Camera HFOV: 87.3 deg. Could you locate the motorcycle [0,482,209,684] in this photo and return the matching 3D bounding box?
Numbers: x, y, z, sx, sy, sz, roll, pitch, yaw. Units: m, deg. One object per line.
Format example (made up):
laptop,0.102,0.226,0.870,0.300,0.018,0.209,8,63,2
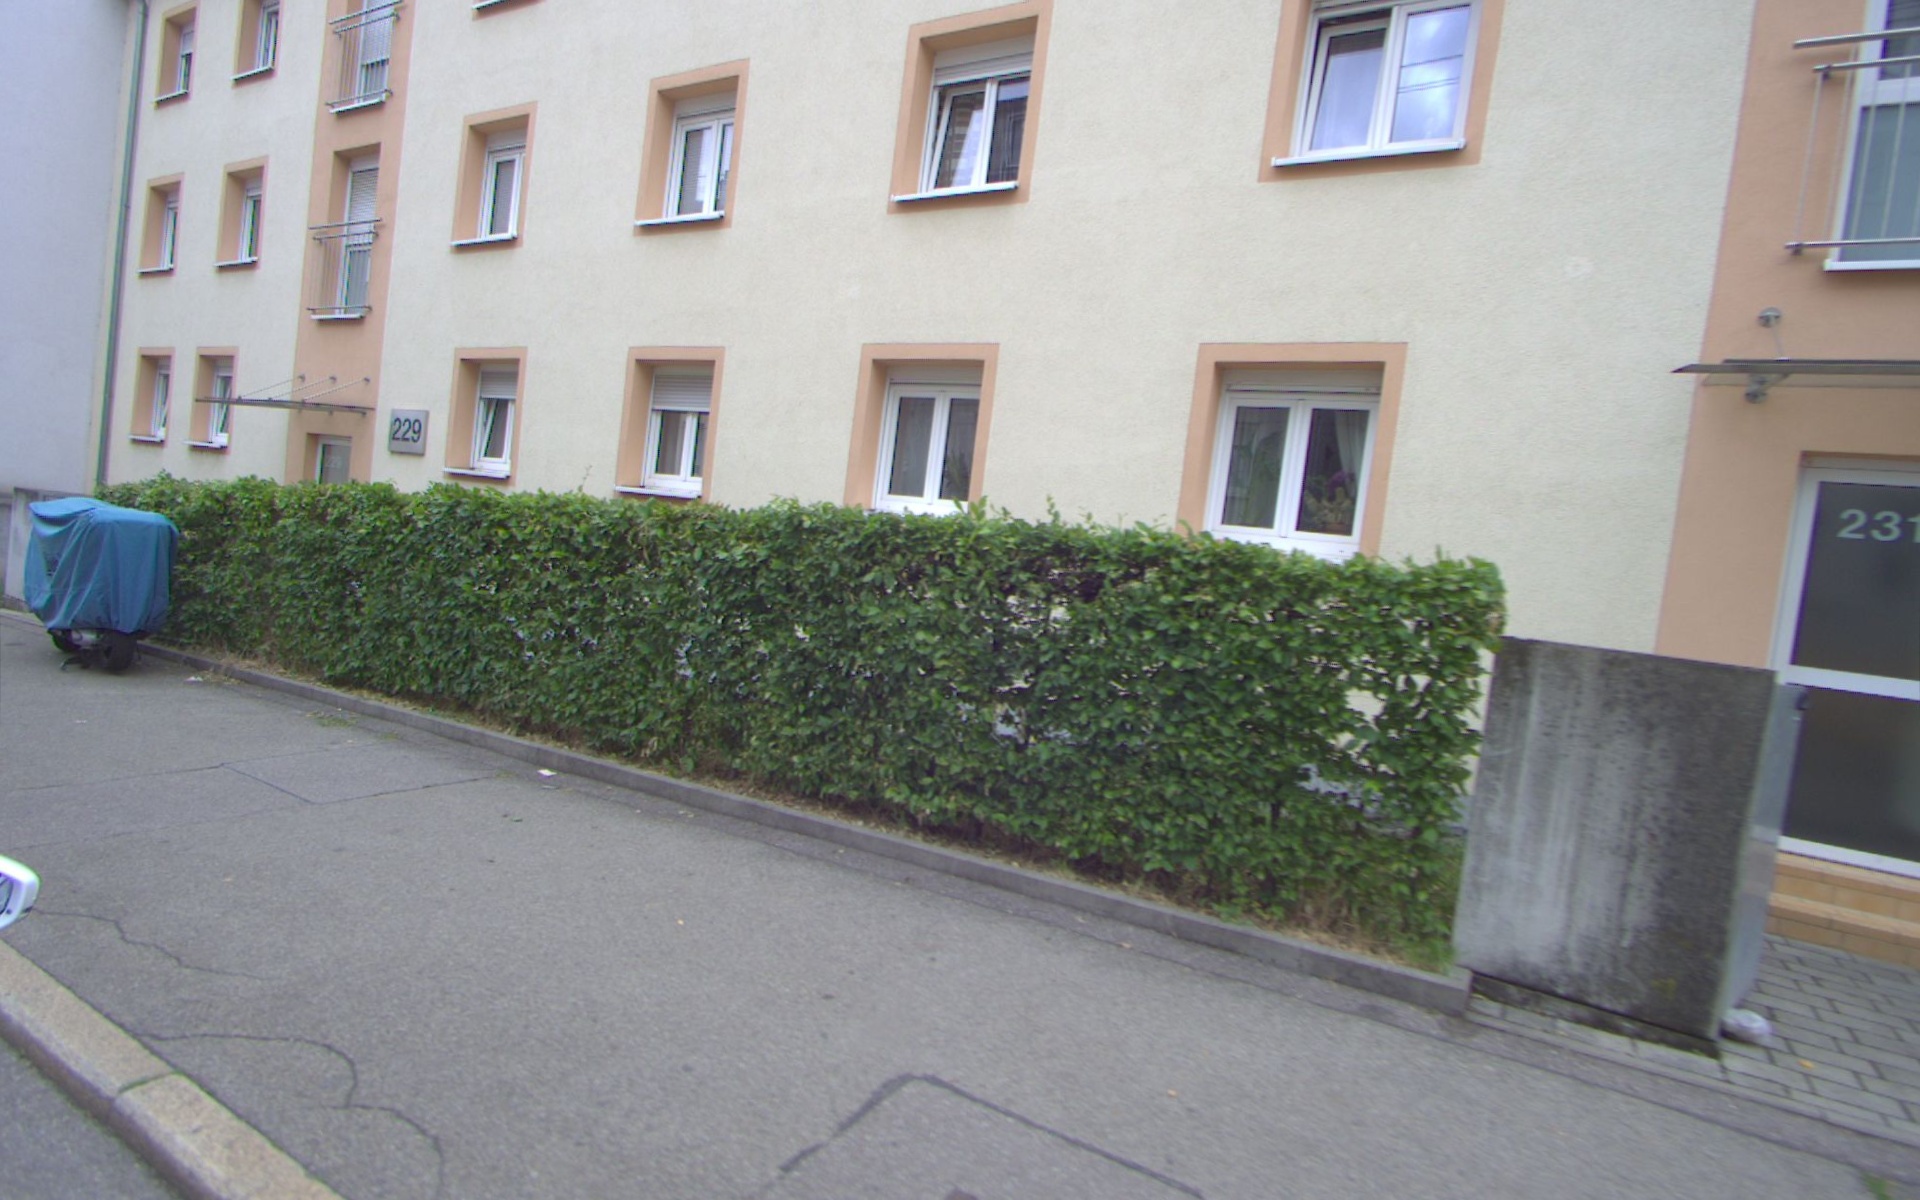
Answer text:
motorcycle,-7.522,-0.191,8.606,2.511,1.475,0.839,6,2,32
